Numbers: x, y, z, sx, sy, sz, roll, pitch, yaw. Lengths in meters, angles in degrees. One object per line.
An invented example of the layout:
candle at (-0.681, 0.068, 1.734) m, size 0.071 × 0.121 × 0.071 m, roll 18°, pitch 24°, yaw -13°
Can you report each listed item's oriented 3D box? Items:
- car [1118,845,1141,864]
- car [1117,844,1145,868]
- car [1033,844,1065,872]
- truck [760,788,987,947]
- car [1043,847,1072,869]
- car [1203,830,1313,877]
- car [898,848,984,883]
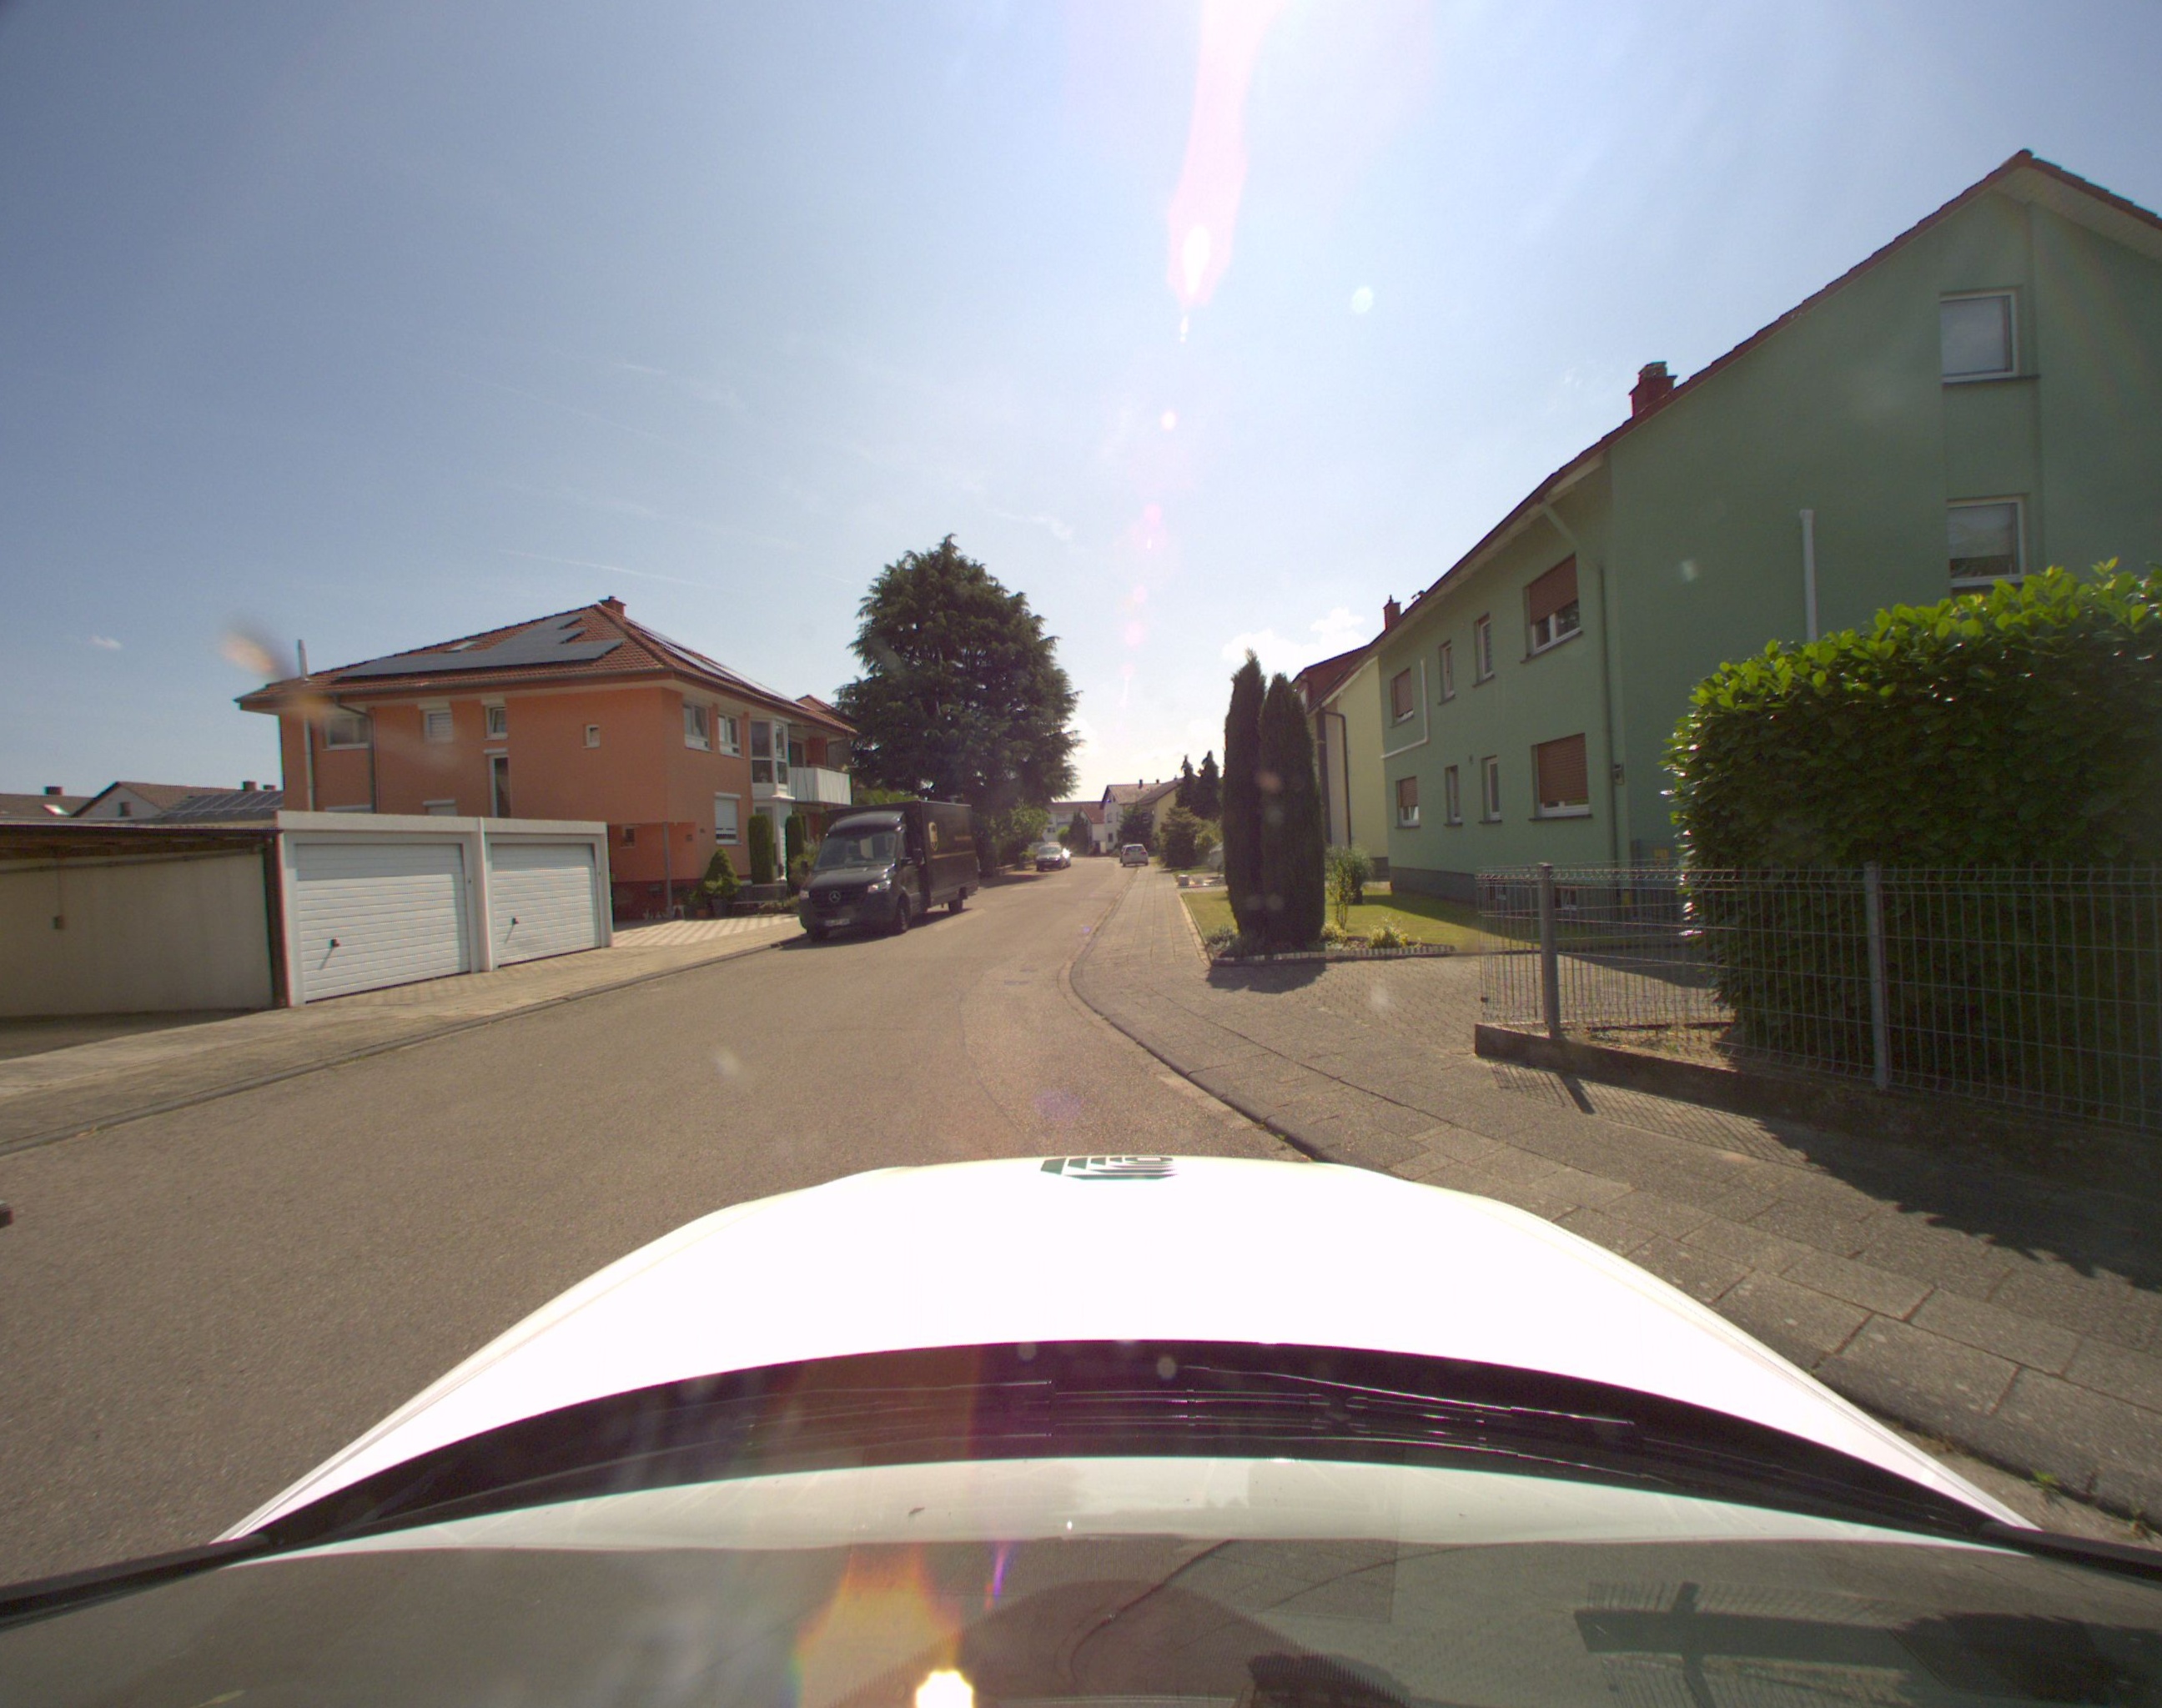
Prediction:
car at (4.078, 0.012, 69.094) m, size 1.801 × 1.495 × 4.003 m, roll -3°, pitch 1°, yaw 2°
car at (3.428, 0.103, 56.325) m, size 1.801 × 1.495 × 4.003 m, roll -3°, pitch 1°, yaw 2°
car at (-2.183, 0.267, 56.214) m, size 1.801 × 1.762 × 4.209 m, roll -3°, pitch 1°, yaw 2°
truck at (-4.361, 0.205, 19.007) m, size 2.421 × 2.787 × 7.312 m, roll -6°, pitch 0°, yaw 7°
car at (-1.745, 0.289, 62.152) m, size 1.801 × 1.495 × 4.003 m, roll -3°, pitch 1°, yaw 2°
car at (6.726, -0.027, 31.311) m, size 3.894 × 1.509 × 1.777 m, roll -4°, pitch 0°, yaw 5°
car at (-7.577, 0.623, 44.343) m, size 4.170 × 1.653 × 1.818 m, roll -3°, pitch 1°, yaw 7°
